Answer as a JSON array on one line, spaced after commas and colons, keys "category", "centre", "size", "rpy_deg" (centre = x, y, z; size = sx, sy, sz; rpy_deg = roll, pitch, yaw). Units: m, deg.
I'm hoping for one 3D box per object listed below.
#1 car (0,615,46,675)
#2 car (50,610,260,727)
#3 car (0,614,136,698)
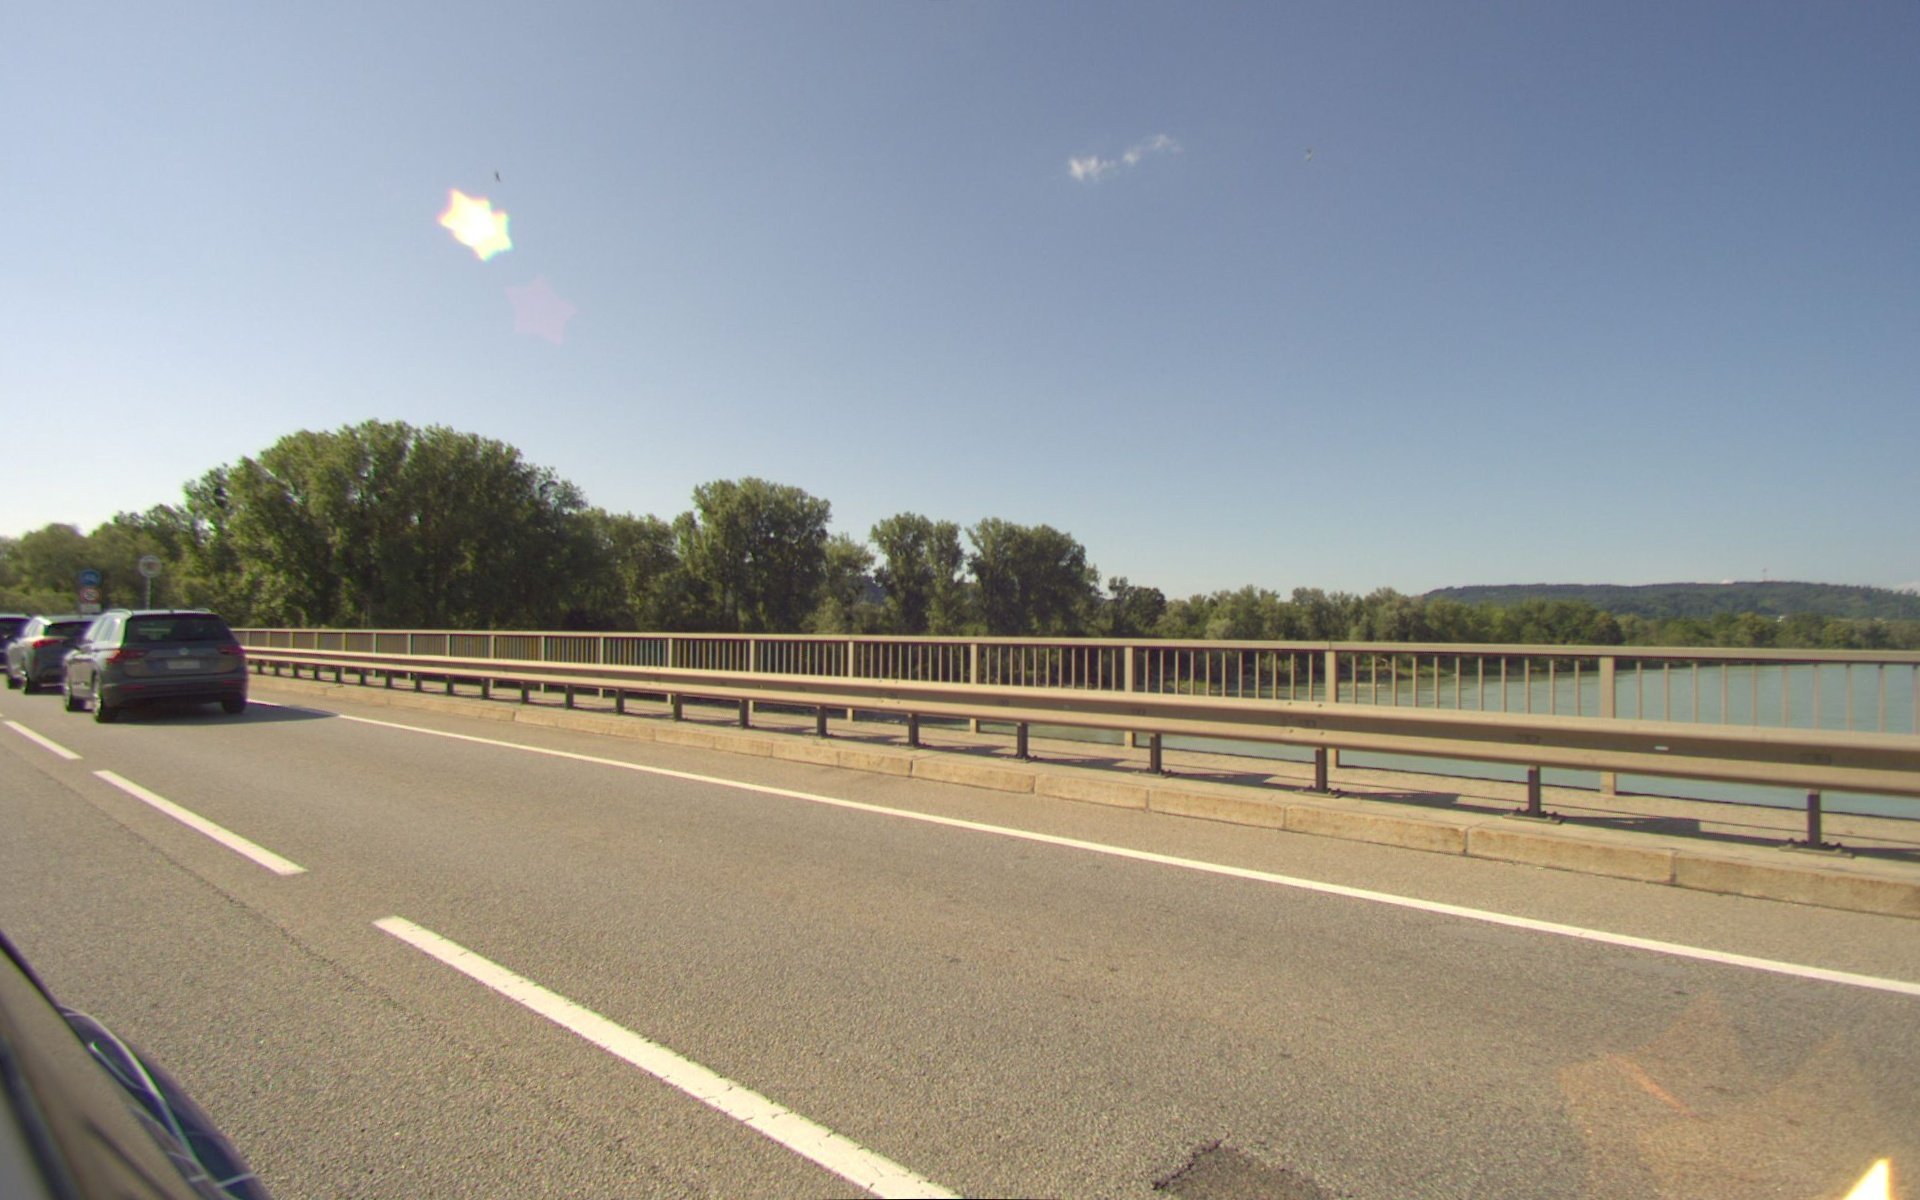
[{"category": "car", "centre": [-29.056, 1.339, 30.296], "size": [4.720, 1.665, 2.032], "rpy_deg": [-1, 1, 42]}, {"category": "car", "centre": [-12.738, 0.987, 15.924], "size": [4.272, 1.596, 1.855], "rpy_deg": [-1, -1, 41]}, {"category": "car", "centre": [-19.065, 1.128, 21.531], "size": [4.200, 1.589, 1.787], "rpy_deg": [-1, -1, 42]}]
